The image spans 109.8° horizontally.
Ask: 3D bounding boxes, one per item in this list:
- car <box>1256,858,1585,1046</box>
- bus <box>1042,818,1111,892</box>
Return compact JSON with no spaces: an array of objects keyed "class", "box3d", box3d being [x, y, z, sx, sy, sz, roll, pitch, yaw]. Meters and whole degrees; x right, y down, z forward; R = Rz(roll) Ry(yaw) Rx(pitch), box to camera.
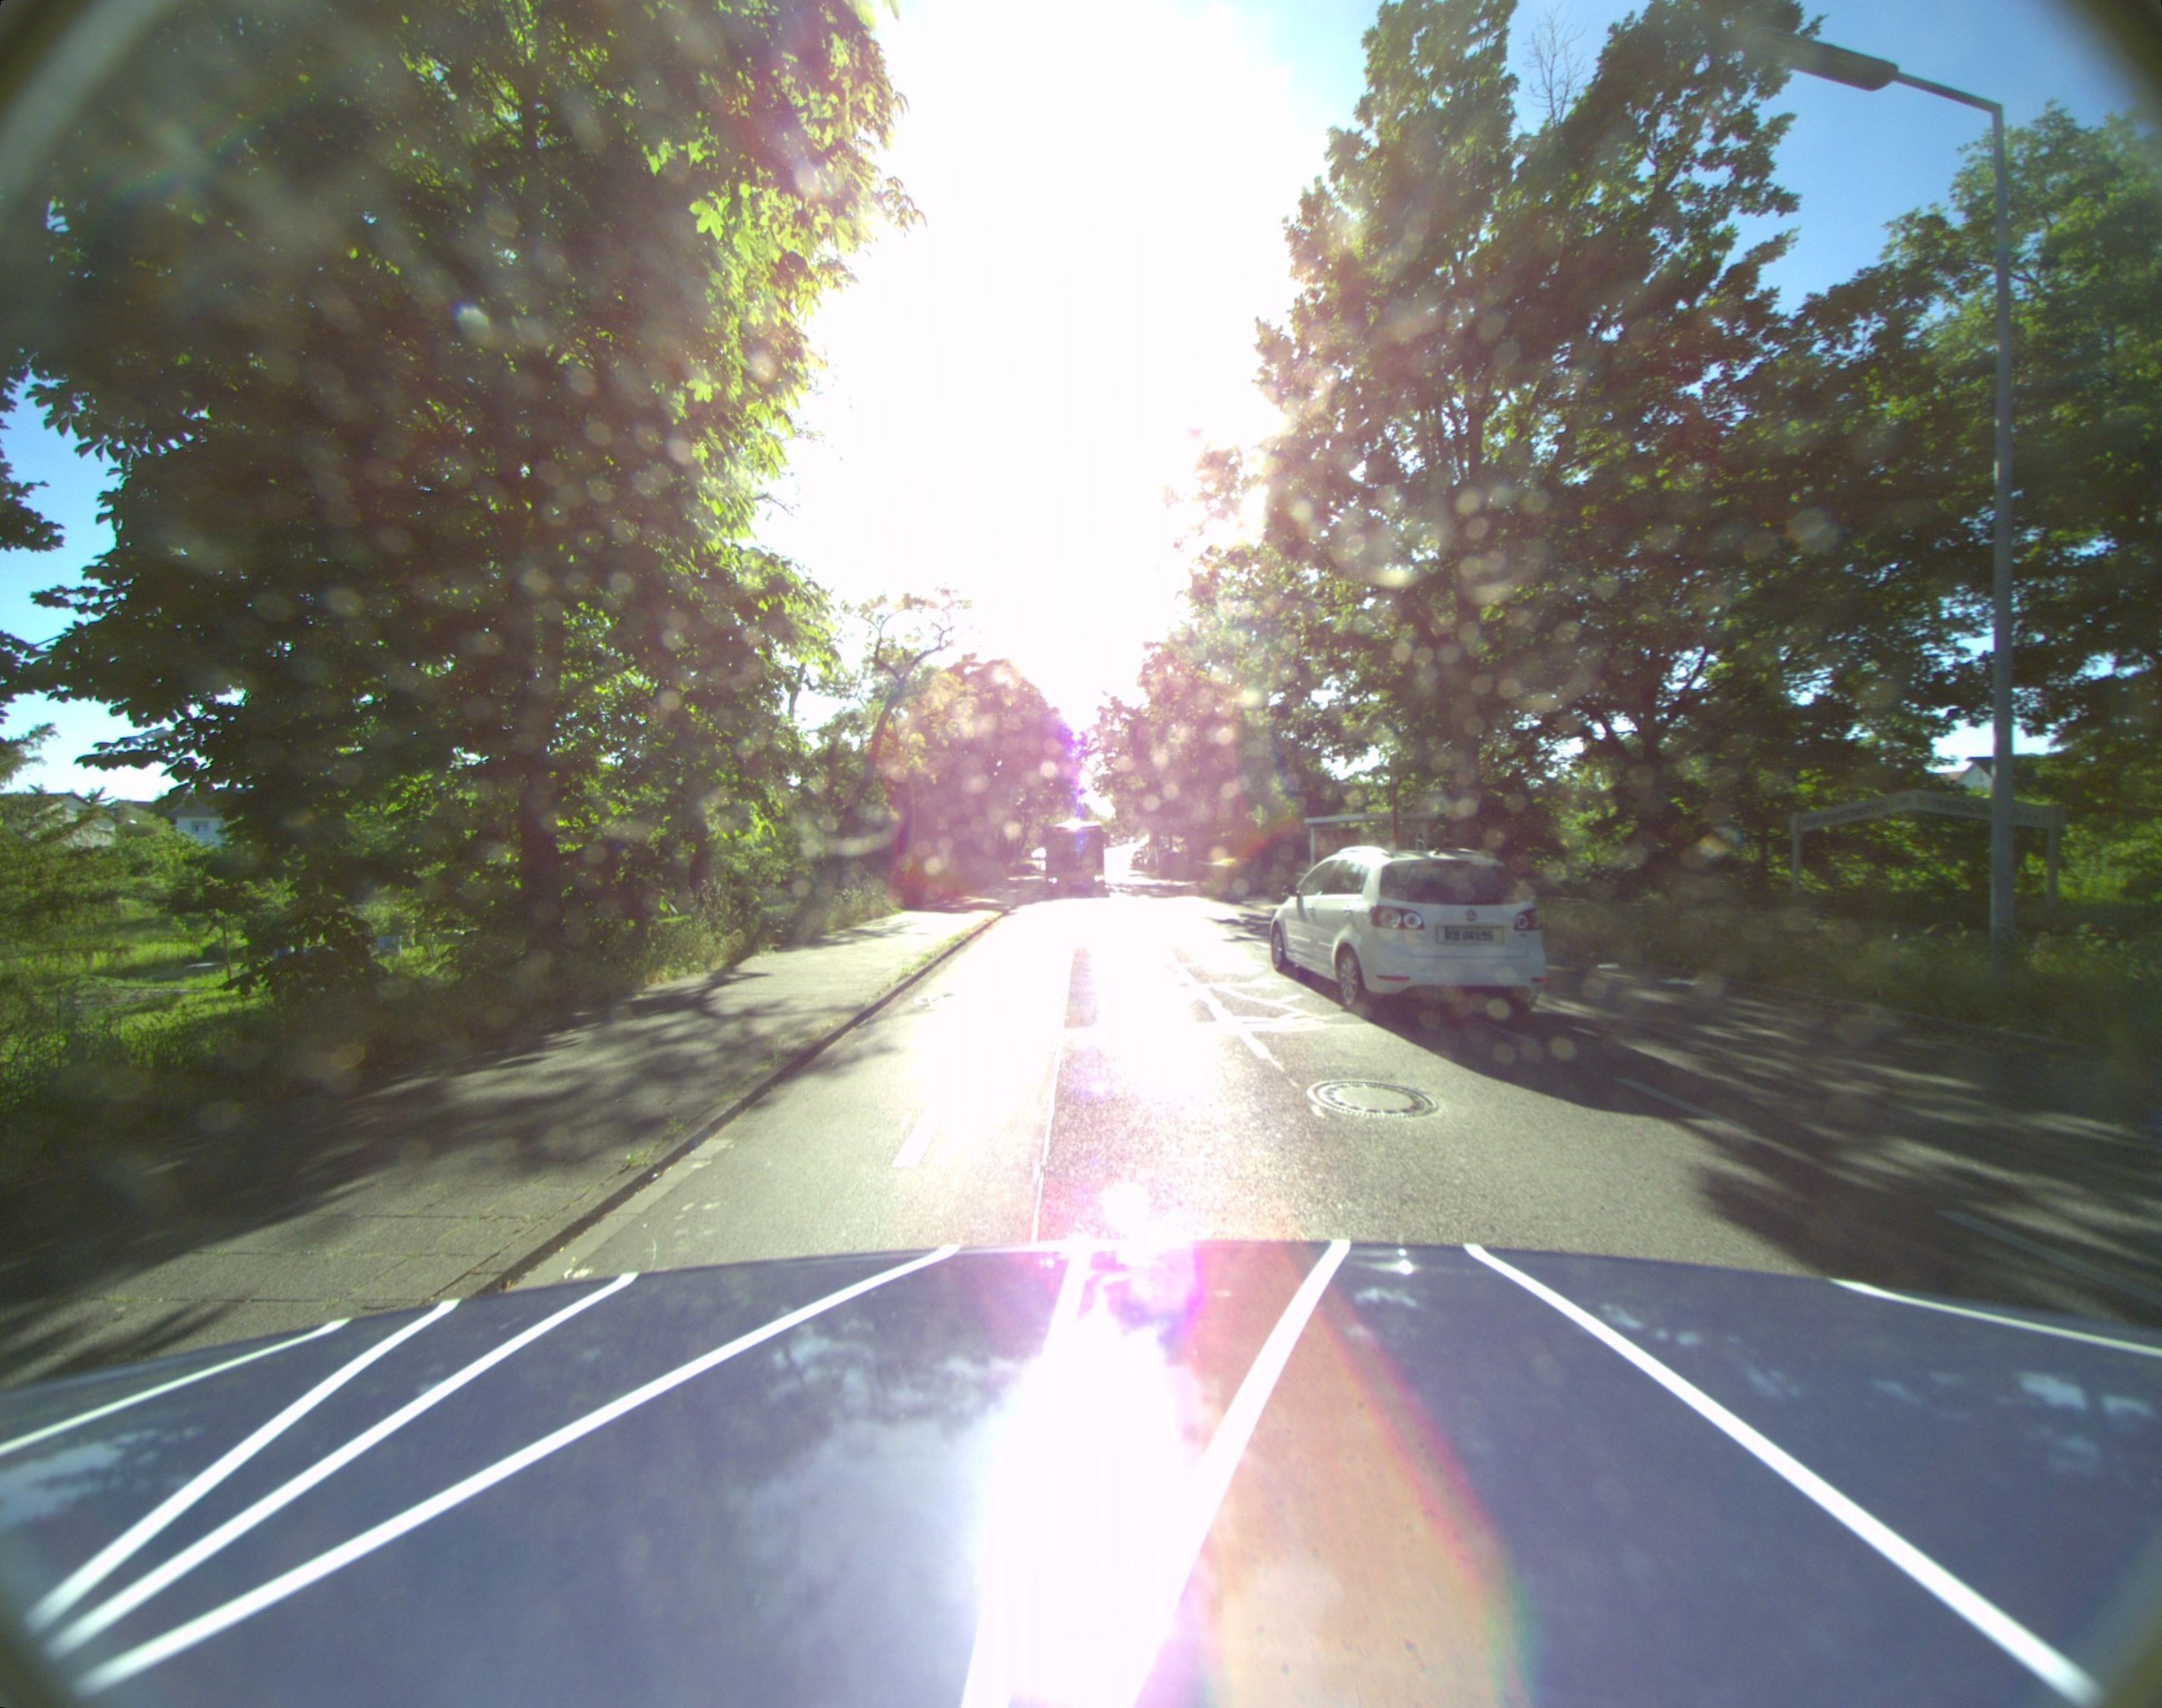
[{"class":"car","box3d":[3.350,0.843,8.485,1.756,1.554,4.119,1,0,-1]},{"class":"bus","box3d":[-0.265,0.047,38.201,2.790,2.965,12.893,-2,0,-1]}]
